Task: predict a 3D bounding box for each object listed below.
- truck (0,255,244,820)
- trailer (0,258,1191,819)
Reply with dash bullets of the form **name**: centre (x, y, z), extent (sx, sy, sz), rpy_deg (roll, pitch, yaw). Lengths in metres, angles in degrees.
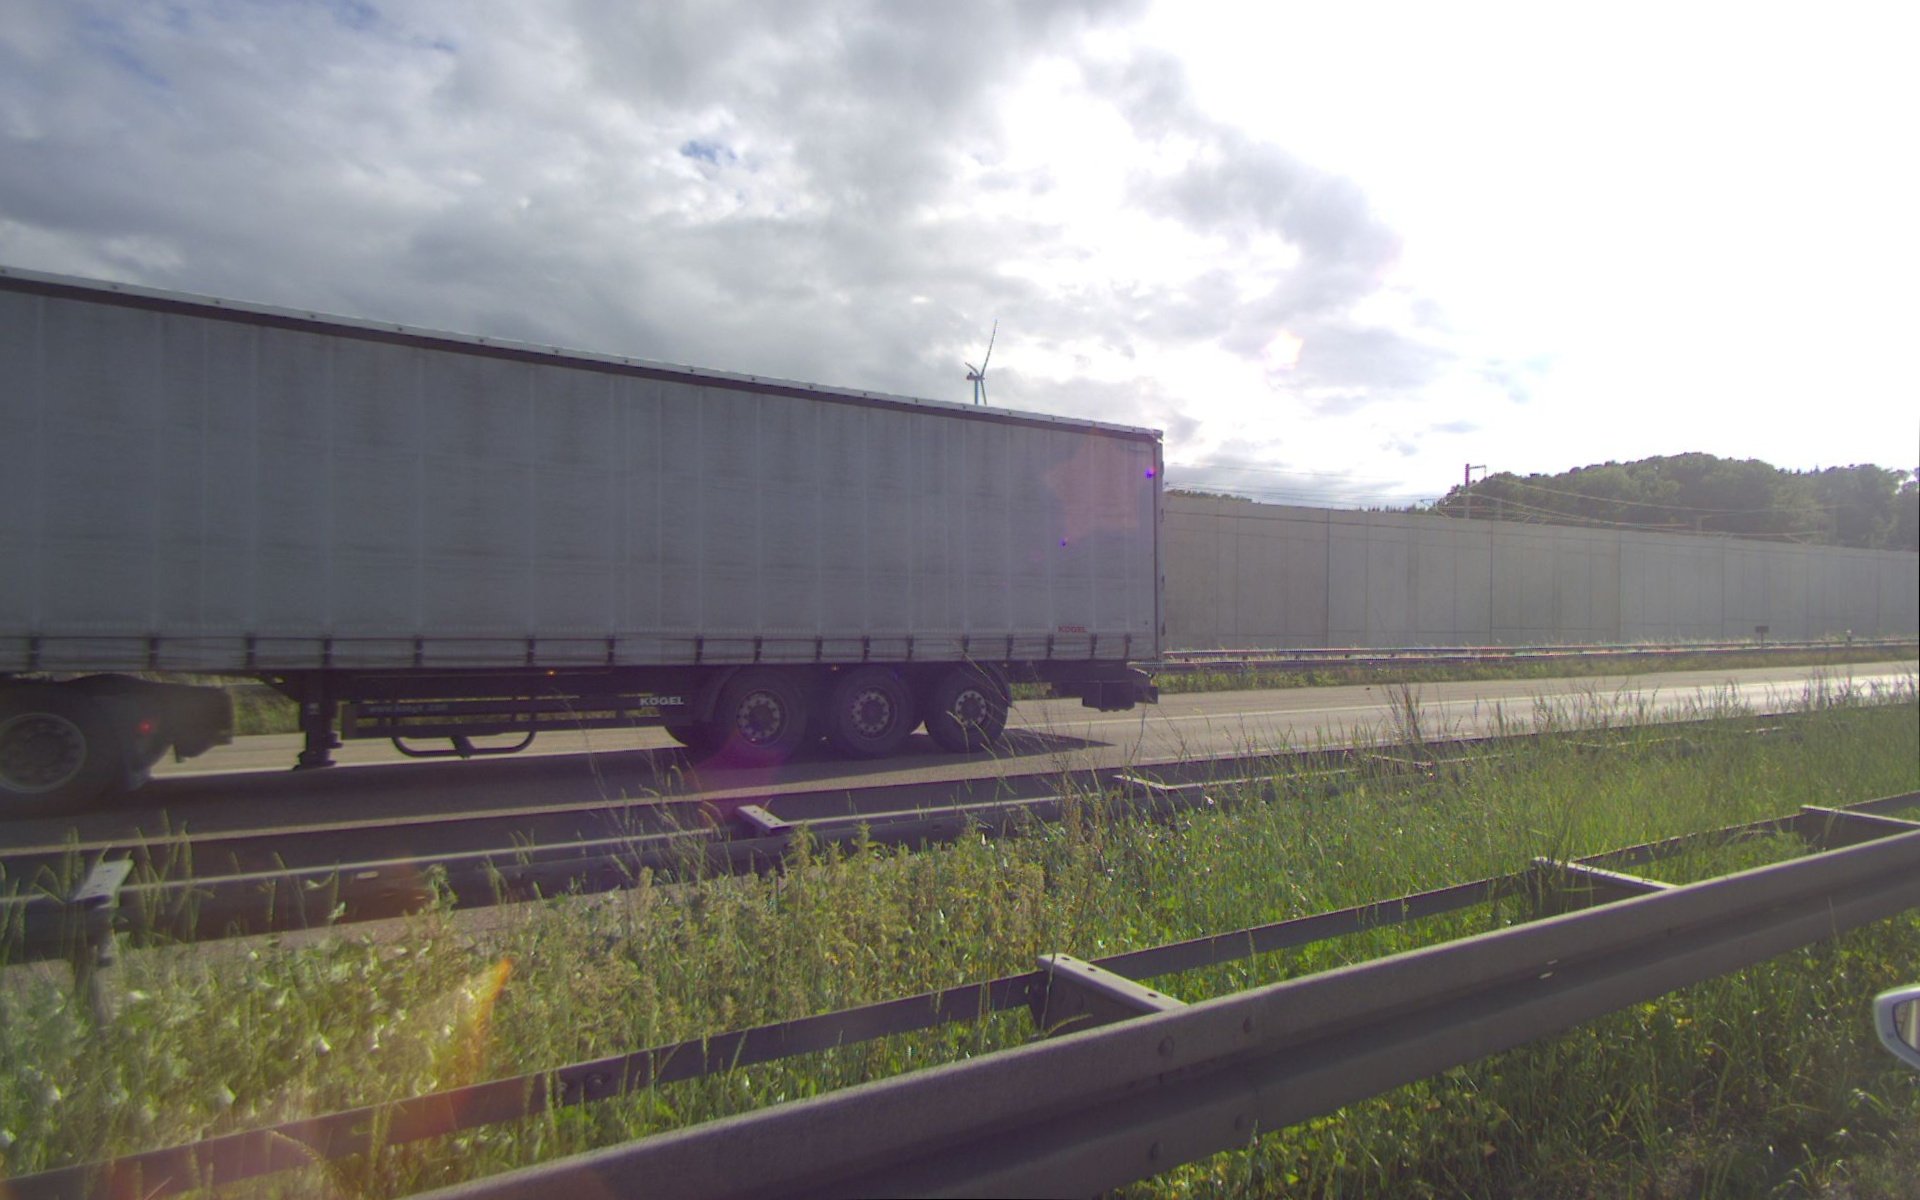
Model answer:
- **truck**: centre (-9.171, -0.472, 7.584), extent (5.811, 4.122, 2.672), rpy_deg (1, -1, -31)
- **trailer**: centre (-3.422, -0.325, 11.054), extent (13.633, 4.091, 2.670), rpy_deg (1, -1, -31)
